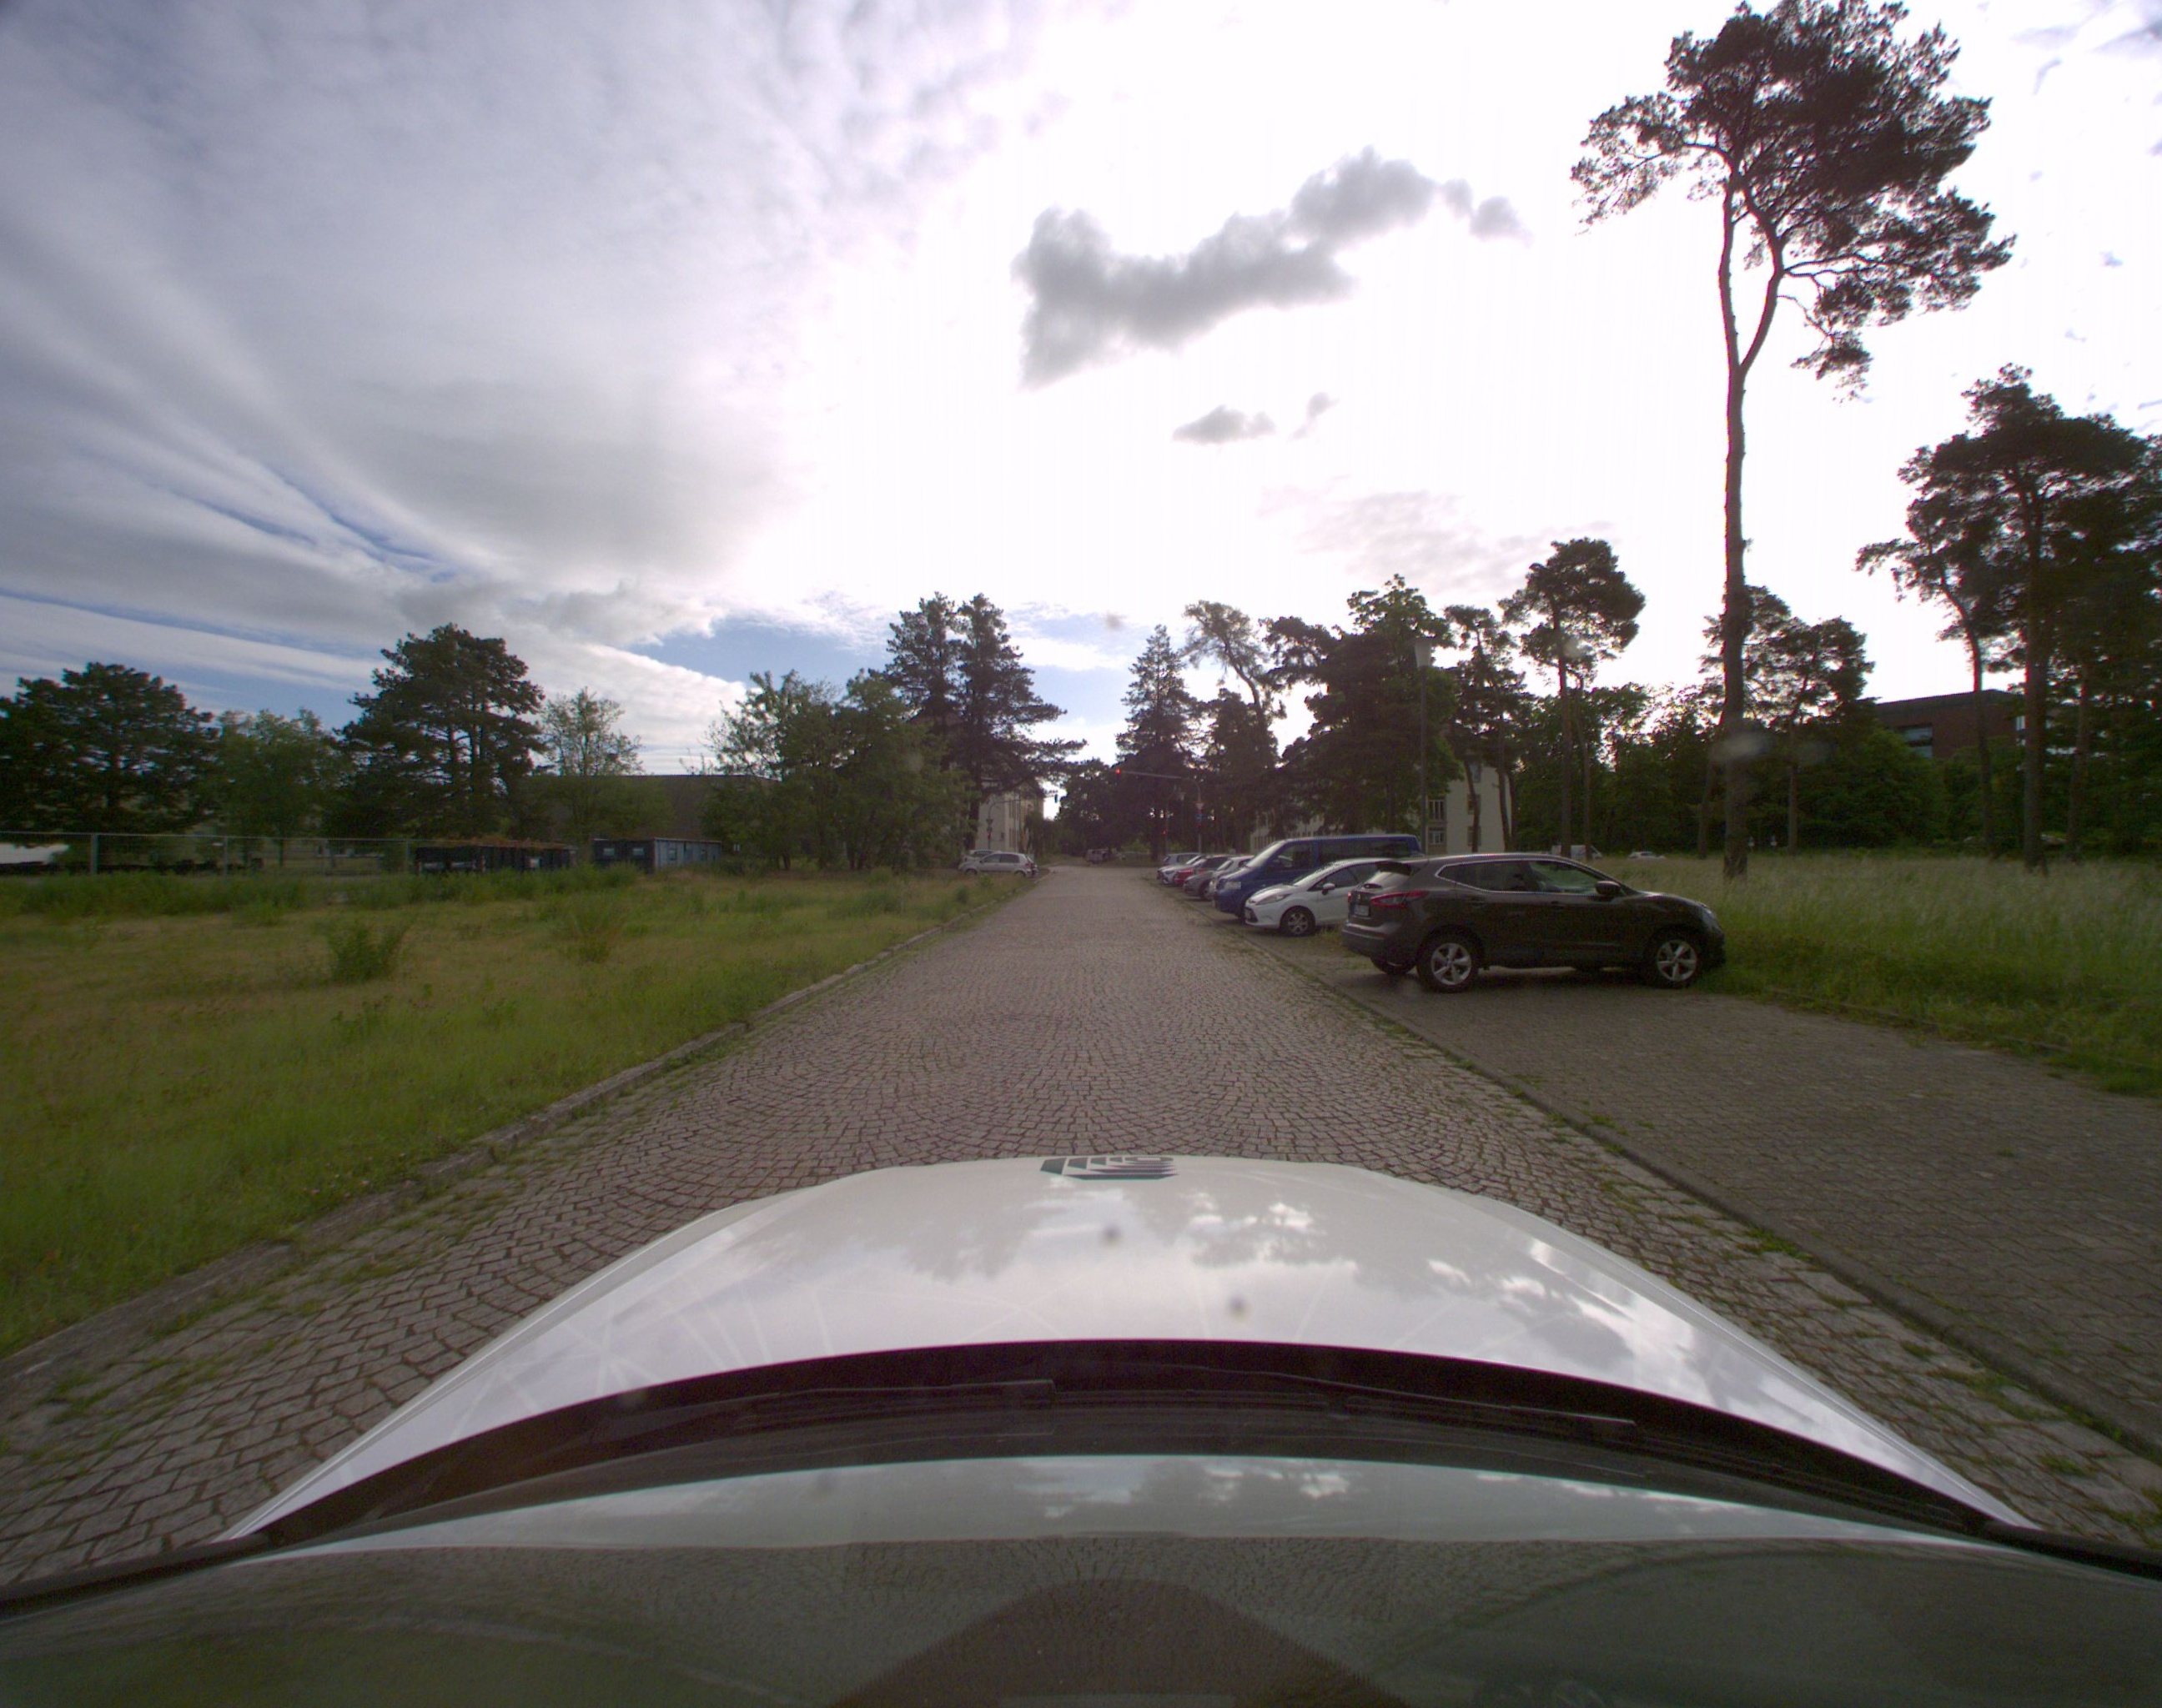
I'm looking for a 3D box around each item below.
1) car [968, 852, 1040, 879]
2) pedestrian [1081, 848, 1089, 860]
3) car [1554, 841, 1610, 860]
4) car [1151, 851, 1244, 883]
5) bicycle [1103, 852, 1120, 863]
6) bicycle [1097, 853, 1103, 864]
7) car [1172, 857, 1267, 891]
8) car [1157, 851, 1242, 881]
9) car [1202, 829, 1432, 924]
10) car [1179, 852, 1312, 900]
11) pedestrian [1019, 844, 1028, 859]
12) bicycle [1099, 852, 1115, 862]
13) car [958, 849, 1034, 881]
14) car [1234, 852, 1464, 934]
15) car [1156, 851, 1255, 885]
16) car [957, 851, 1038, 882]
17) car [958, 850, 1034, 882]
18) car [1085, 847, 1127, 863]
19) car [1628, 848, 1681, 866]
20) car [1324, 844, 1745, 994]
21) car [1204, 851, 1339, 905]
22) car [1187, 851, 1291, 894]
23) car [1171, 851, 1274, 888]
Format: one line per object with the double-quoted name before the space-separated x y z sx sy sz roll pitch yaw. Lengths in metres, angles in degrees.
"car" -4.677 0.677 49.771 4.291 1.554 1.809 -1 0 -5
"pedestrian" 0.622 -0.017 139.705 1.237 1.959 1.119 1 0 -4
"car" 58.792 -0.387 95.598 5.281 2.019 2.106 1 0 1
"car" 5.752 0.628 40.237 4.229 1.479 1.704 -1 0 -10
"bicycle" 3.536 0.413 94.925 1.878 1.171 0.664 1 0 -5
"bicycle" 2.097 0.531 90.298 0.660 1.171 1.888 1 0 1
"car" 5.512 0.786 32.766 3.573 1.223 1.629 -1 0 2
"car" 6.202 0.627 42.789 4.128 1.463 1.631 -1 0 -5
"car" 5.395 0.487 19.059 4.782 2.004 1.965 -1 0 -2
"car" 5.436 0.715 27.273 4.115 1.447 1.766 -1 0 1
"pedestrian" -7.625 -0.349 107.492 1.070 1.959 1.121 1 0 1
"bicycle" 3.094 0.401 98.425 1.878 1.171 0.664 1 0 -5
"car" -4.909 0.598 47.318 4.290 1.732 1.650 -1 0 -5
"car" 5.329 0.743 16.514 4.087 1.478 1.720 -1 0 -3
"car" 5.684 0.630 37.470 4.180 1.437 1.751 -1 0 -7
"car" -4.526 0.666 44.510 4.291 1.554 1.809 -1 0 -5
"car" -4.346 0.618 41.912 3.711 1.481 1.672 2 0 -2
"car" 3.367 0.168 109.732 5.379 2.101 2.170 0 0 -12
"car" 59.761 0.336 84.858 4.116 1.804 1.901 1 0 2
"car" 5.421 0.720 10.156 4.192 1.595 1.952 -1 0 -2
"car" 5.621 0.696 24.367 3.641 1.478 1.766 -1 0 0
"car" 5.788 0.670 30.139 3.494 1.487 1.743 -1 0 0
"car" 6.052 0.640 35.106 4.093 1.476 1.684 -1 0 -1
